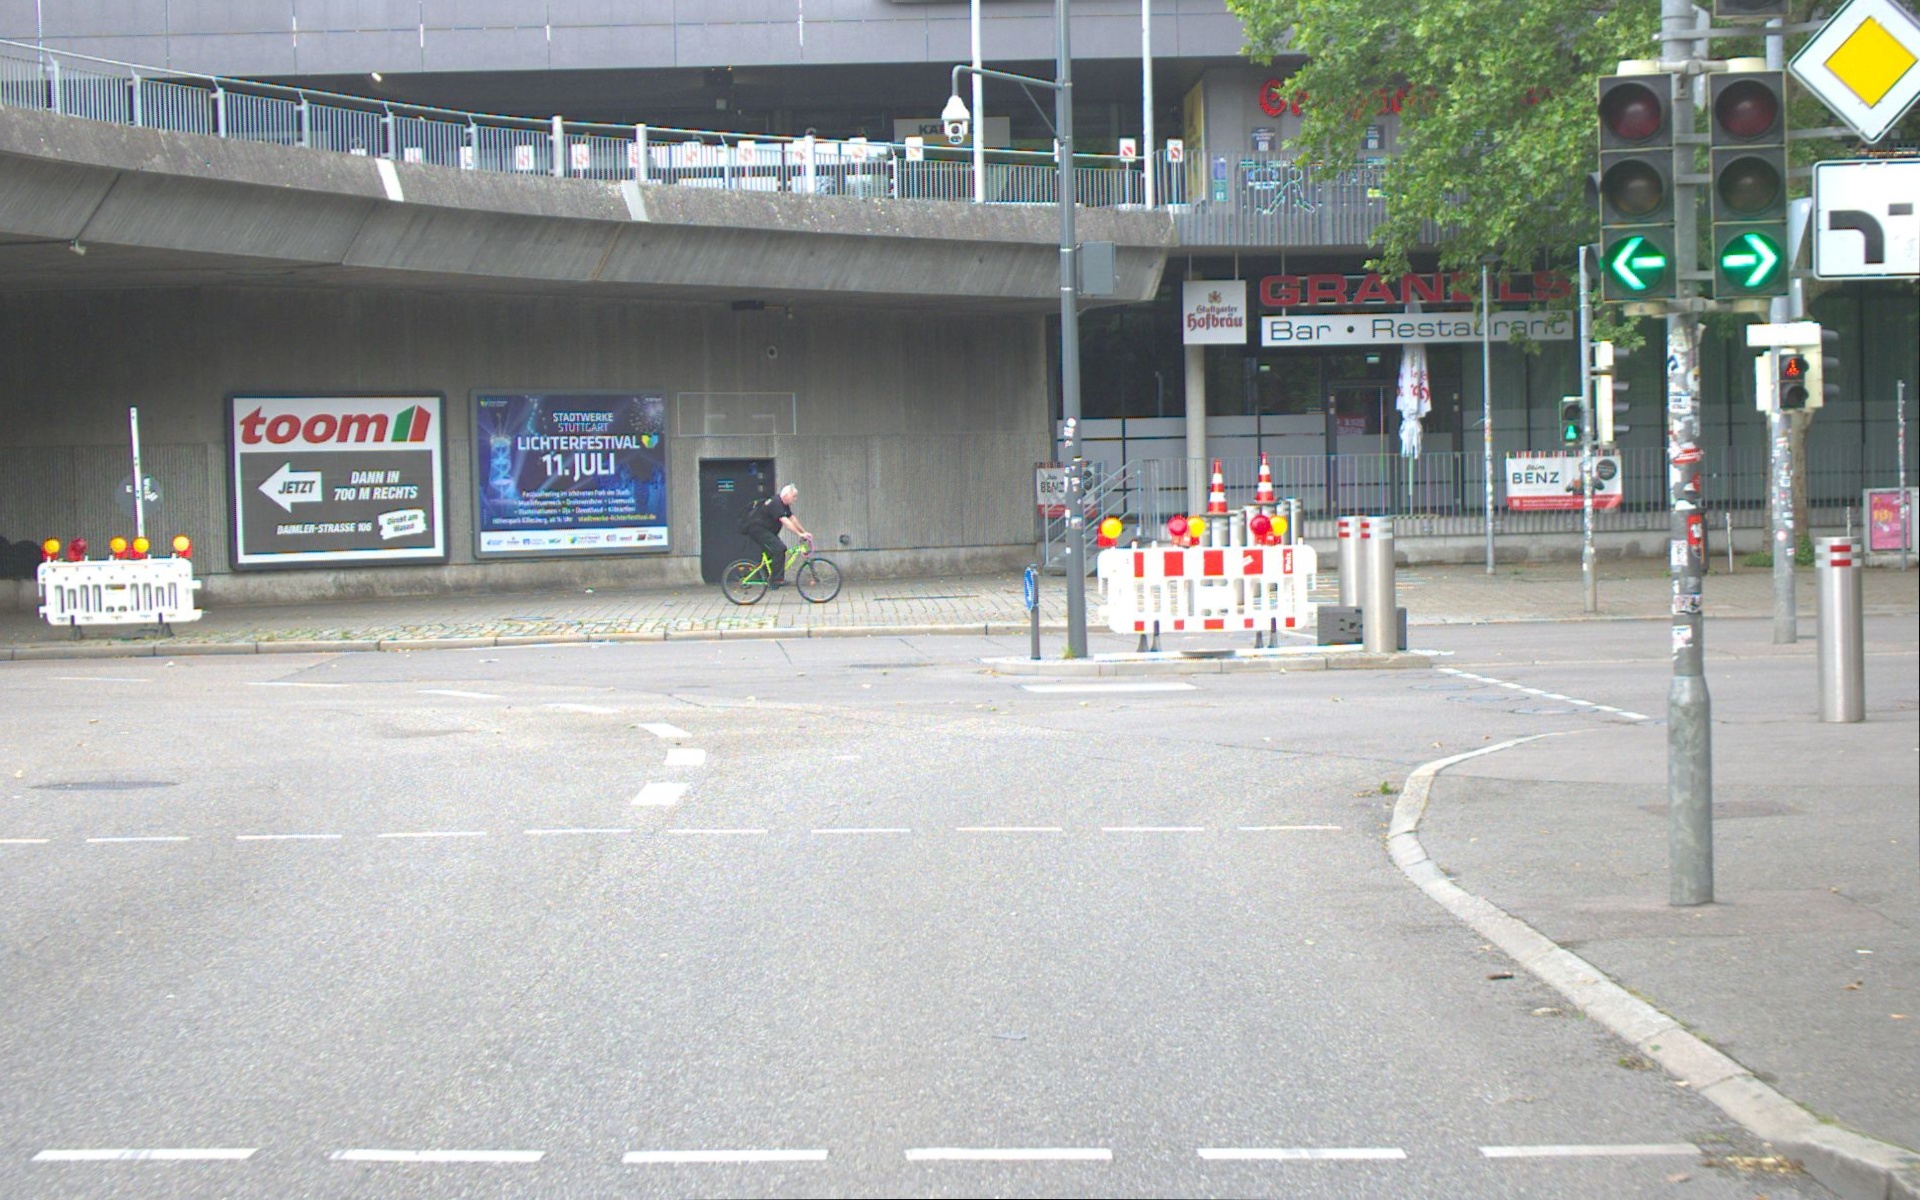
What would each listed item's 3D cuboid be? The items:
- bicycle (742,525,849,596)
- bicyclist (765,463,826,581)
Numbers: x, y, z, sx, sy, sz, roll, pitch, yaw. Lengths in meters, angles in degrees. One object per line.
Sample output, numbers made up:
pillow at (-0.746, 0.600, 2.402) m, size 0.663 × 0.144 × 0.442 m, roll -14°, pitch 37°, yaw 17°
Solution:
bicycle at (-2.393, -0.577, 49.948) m, size 1.532 × 1.009 × 0.517 m, roll 0°, pitch 1°, yaw -4°
bicyclist at (-2.392, -1.137, 49.946) m, size 0.851 × 1.692 × 0.767 m, roll 0°, pitch 1°, yaw -4°
